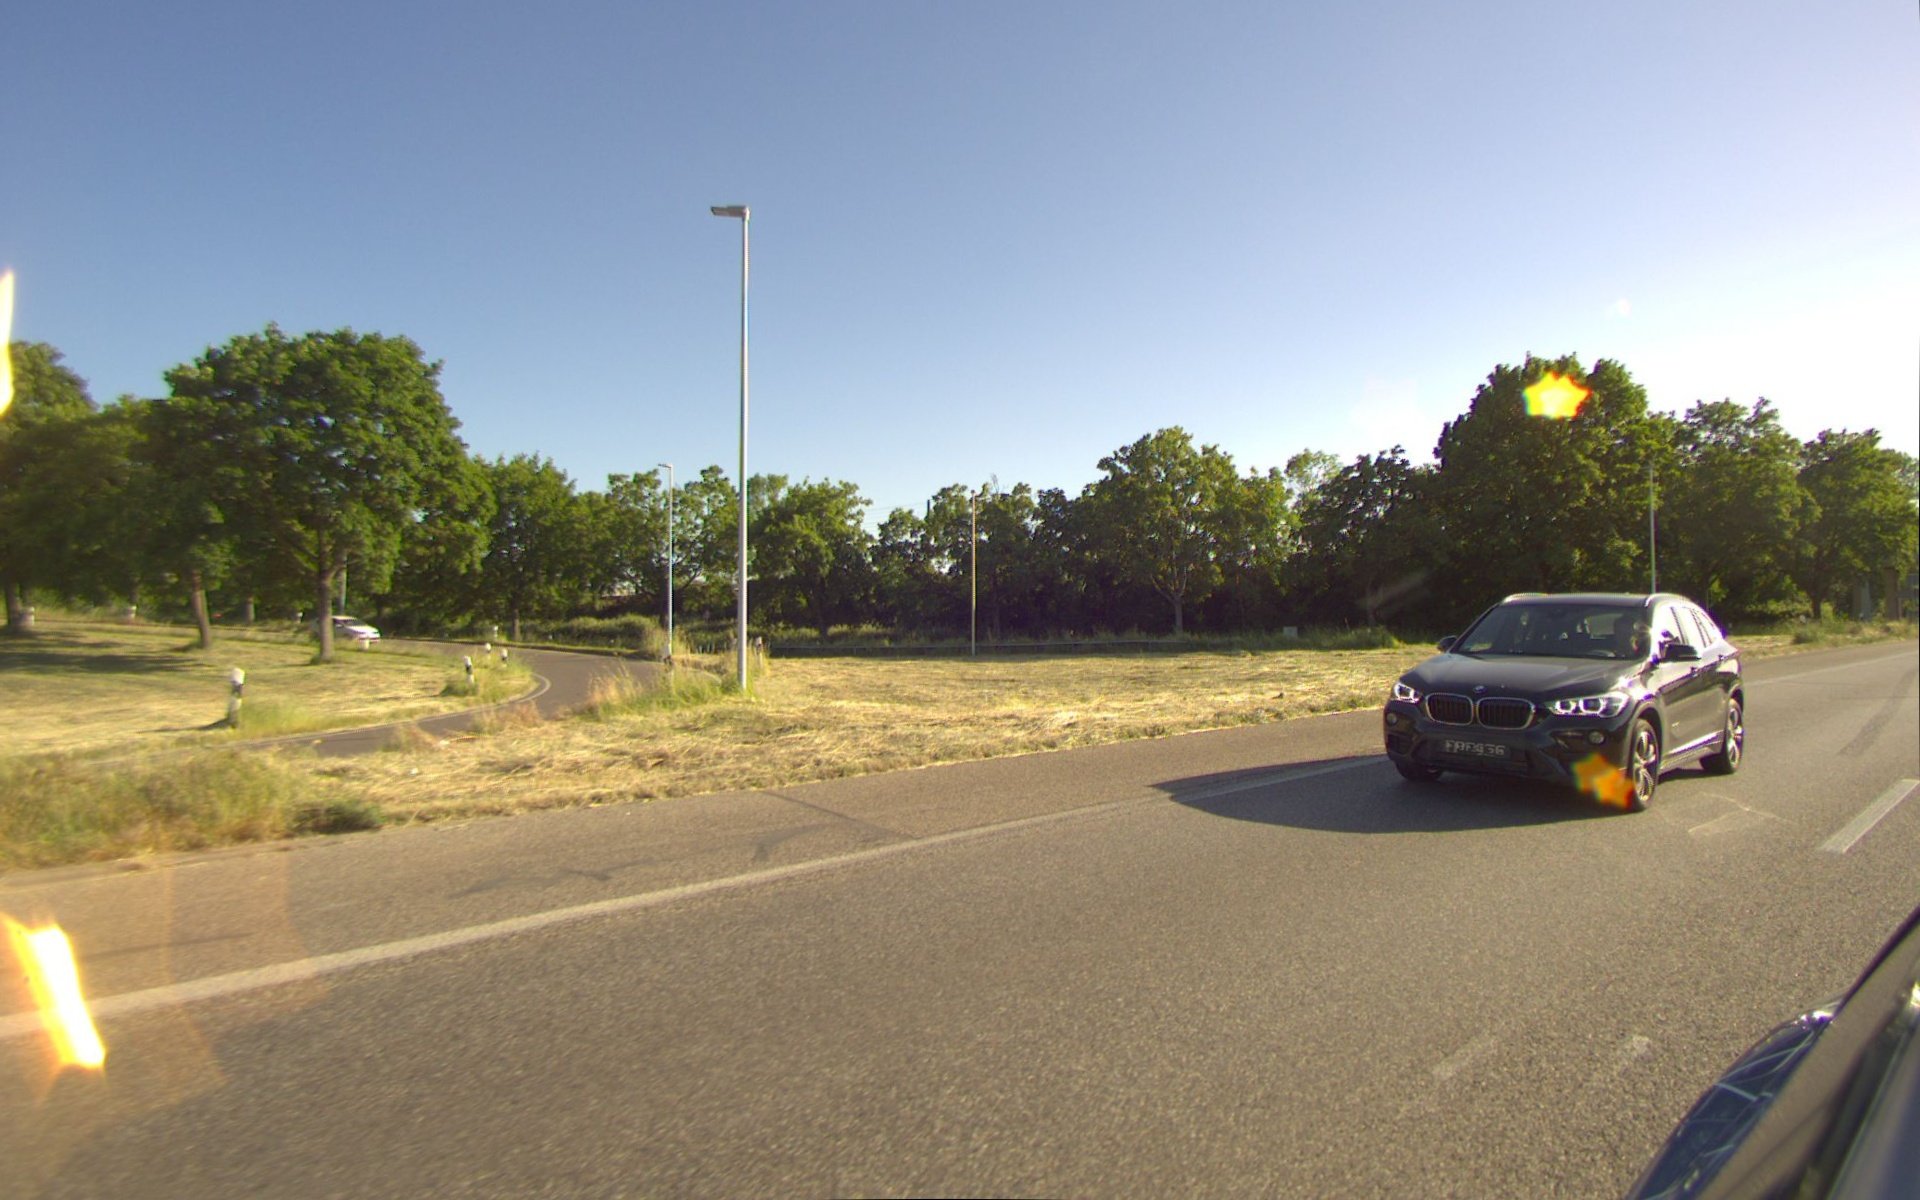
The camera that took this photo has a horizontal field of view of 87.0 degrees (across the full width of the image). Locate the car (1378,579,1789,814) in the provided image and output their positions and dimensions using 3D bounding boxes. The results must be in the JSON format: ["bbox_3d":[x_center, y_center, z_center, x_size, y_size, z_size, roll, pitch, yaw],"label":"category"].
[{"bbox_3d":[5.664,0.653,8.956,4.439,1.593,1.759,0,0,-39],"label":"car"}]

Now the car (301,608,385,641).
[{"bbox_3d":[-33.817,1.294,55.477,3.949,1.713,1.857,1,-1,19],"label":"car"}]
